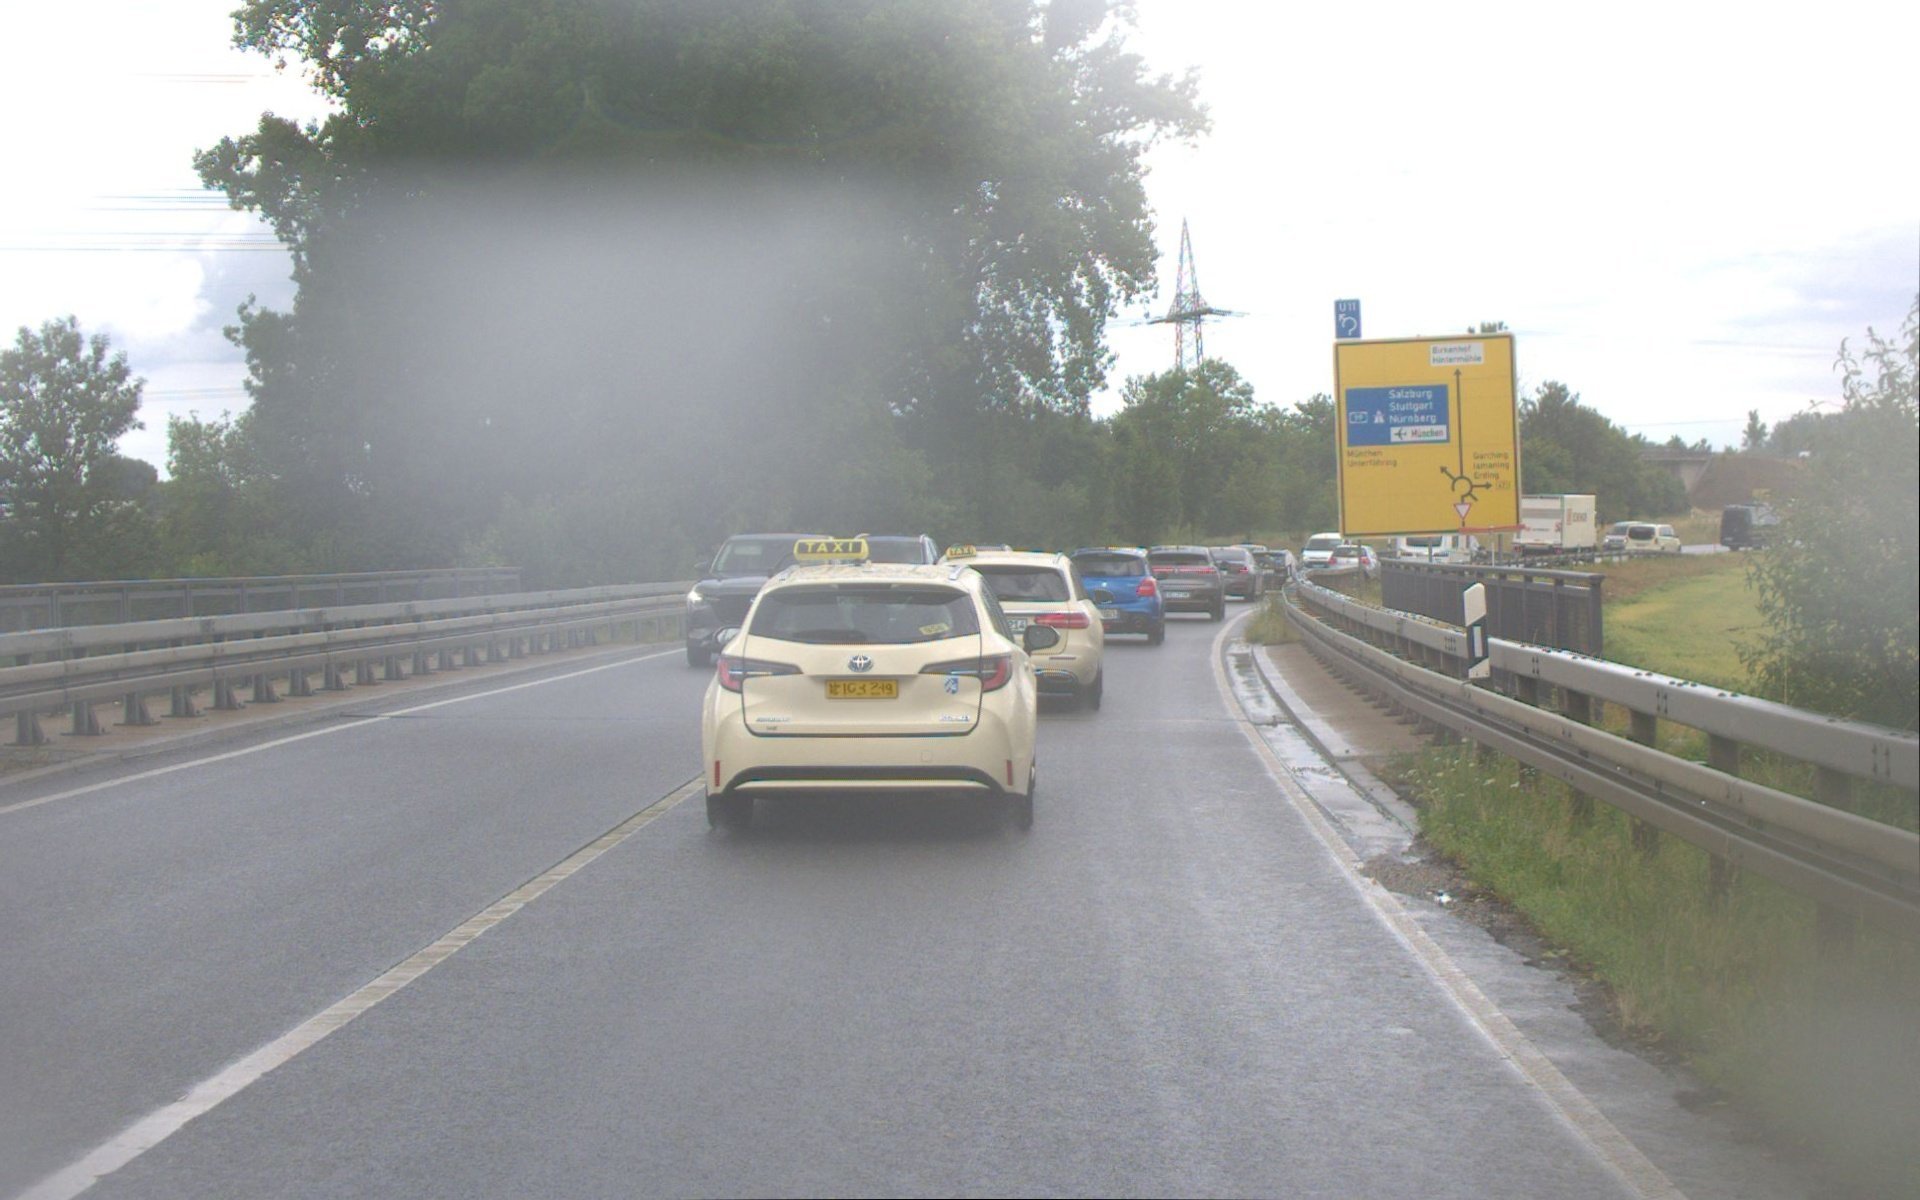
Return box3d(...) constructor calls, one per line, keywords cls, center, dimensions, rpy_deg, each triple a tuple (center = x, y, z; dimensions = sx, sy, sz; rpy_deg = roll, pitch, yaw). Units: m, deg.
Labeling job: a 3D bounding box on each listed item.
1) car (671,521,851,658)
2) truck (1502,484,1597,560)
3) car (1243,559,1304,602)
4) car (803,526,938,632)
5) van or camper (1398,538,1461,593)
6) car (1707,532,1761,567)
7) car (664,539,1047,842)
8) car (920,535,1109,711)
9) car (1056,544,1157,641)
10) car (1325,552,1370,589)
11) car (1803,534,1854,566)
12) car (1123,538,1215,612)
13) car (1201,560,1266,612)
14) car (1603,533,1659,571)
box3d(cls="car", center=(-2.493, -0.182, 44.054), dimensions=(1.746, 1.648, 4.524), rpy_deg=(0, 1, 4))
box3d(cls="truck", center=(29.162, -3.829, 169.911), dimensions=(3.143, 3.550, 7.513), rpy_deg=(1, 0, 21))
box3d(cls="car", center=(9.933, -0.623, 108.761), dimensions=(1.483, 1.304, 3.475), rpy_deg=(0, 1, 13))
box3d(cls="car", center=(-1.485, -0.401, 58.703), dimensions=(1.841, 1.694, 4.388), rpy_deg=(1, 2, 4))
box3d(cls="van or camper", center=(19.586, -1.435, 143.309), dimensions=(1.995, 2.246, 3.997), rpy_deg=(1, 0, 16))
box3d(cls="car", center=(46.080, -3.008, 204.617), dimensions=(1.997, 2.007, 3.993), rpy_deg=(1, 0, 30))
box3d(cls="car", center=(-0.484, 0.437, 19.616), dimensions=(1.906, 1.532, 4.161), rpy_deg=(0, 1, 2))
box3d(cls="car", center=(0.566, 0.186, 32.493), dimensions=(1.578, 1.567, 3.681), rpy_deg=(0, 1, 4))
box3d(cls="car", center=(2.302, -0.129, 53.456), dimensions=(1.506, 1.432, 3.355), rpy_deg=(1, 1, 3))
box3d(cls="car", center=(14.201, -1.082, 125.924), dimensions=(1.483, 1.304, 3.475), rpy_deg=(0, 1, 9))
box3d(cls="car", center=(55.688, -3.217, 220.357), dimensions=(2.229, 2.007, 3.994), rpy_deg=(1, 0, 29))
box3d(cls="car", center=(4.236, -0.511, 69.235), dimensions=(1.665, 1.459, 3.476), rpy_deg=(0, 1, 7))
box3d(cls="car", center=(7.565, -0.374, 94.867), dimensions=(1.661, 1.404, 3.903), rpy_deg=(0, 0, 7))
box3d(cls="car", center=(36.998, -2.624, 189.525), dimensions=(2.169, 2.007, 3.995), rpy_deg=(1, 0, 24))
